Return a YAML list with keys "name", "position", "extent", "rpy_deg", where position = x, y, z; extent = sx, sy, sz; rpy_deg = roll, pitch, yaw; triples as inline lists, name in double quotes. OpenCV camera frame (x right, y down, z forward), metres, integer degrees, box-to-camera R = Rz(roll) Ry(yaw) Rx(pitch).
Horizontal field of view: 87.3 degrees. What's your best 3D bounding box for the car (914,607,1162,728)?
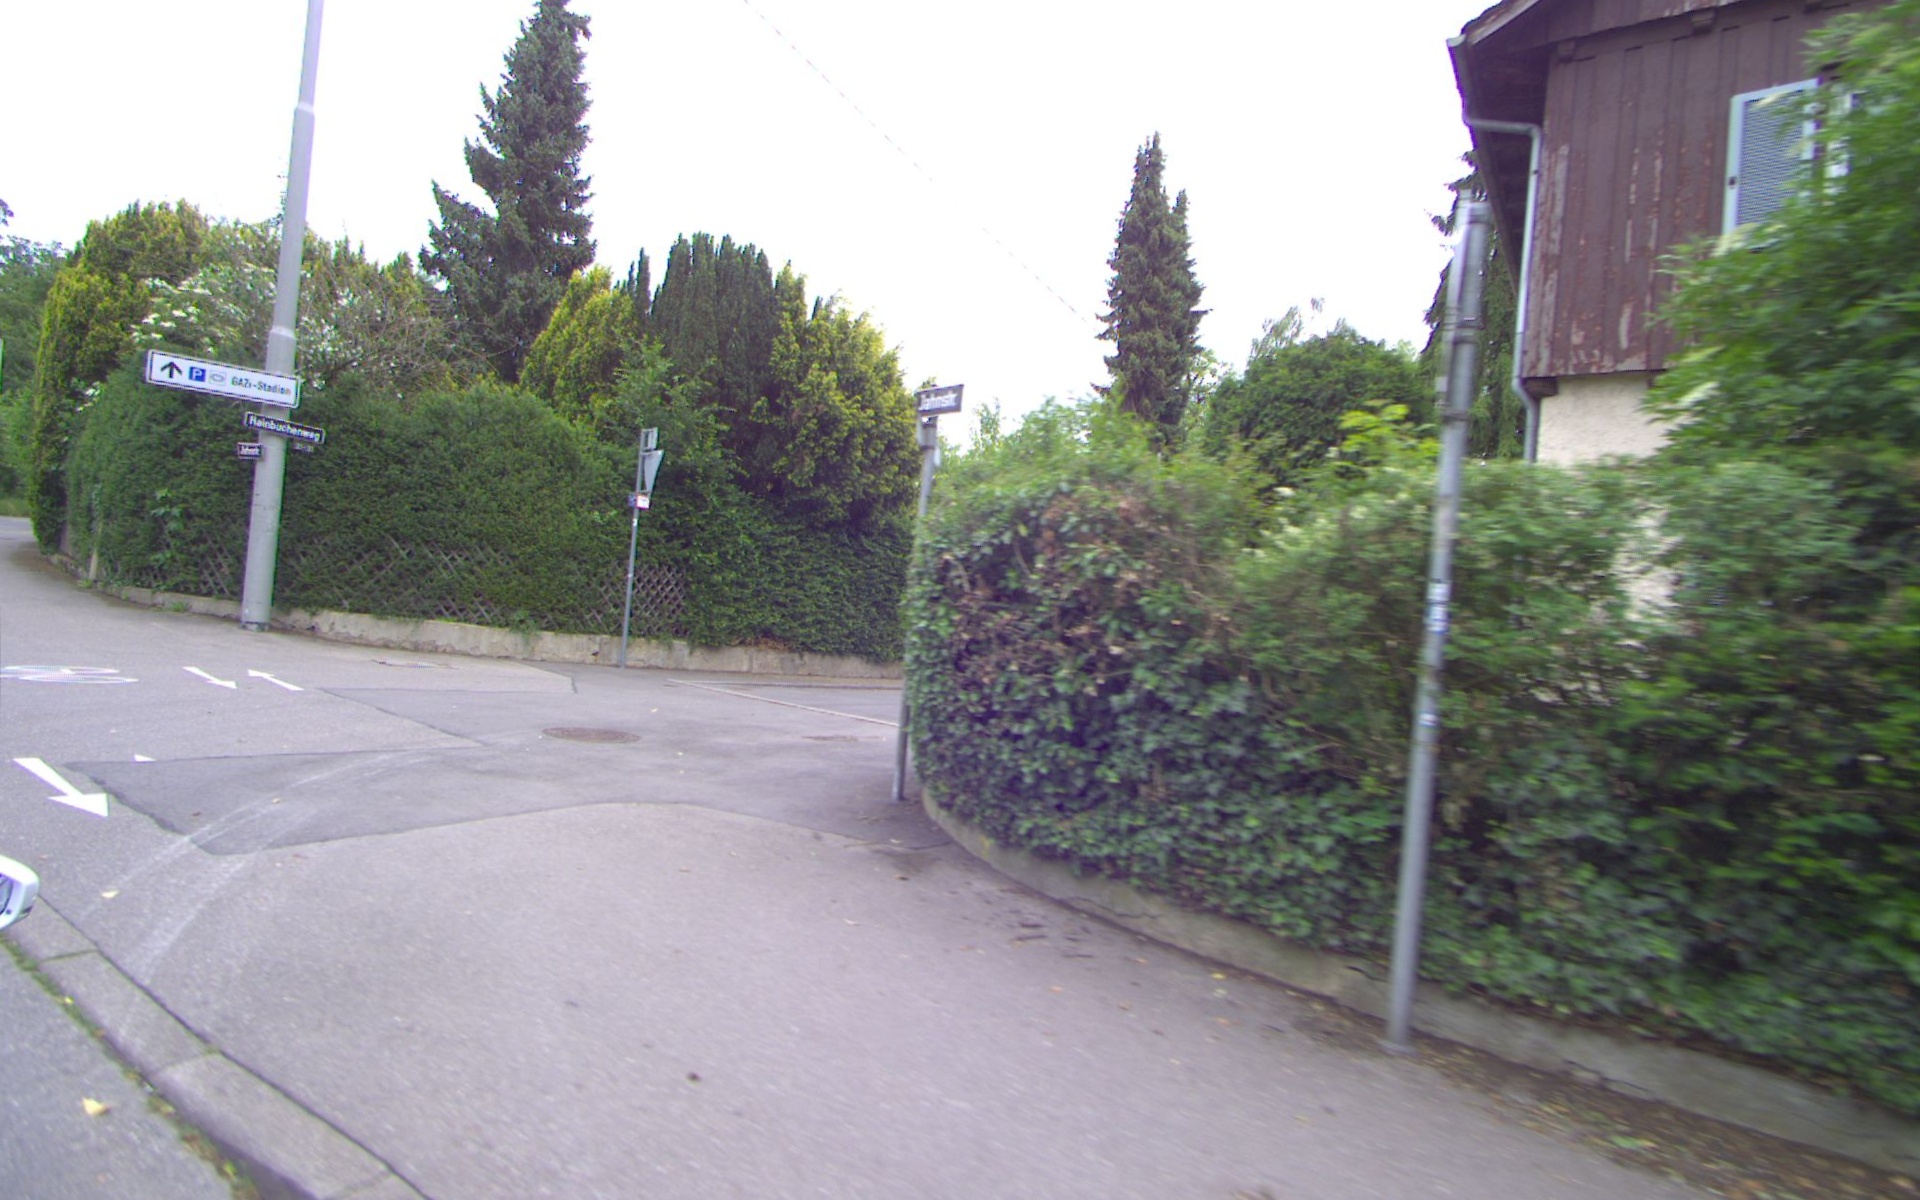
- name: "car"
  position: [1.354, 1.111, 15.854]
  extent: [1.969, 1.459, 3.988]
  rpy_deg: [7, -1, 37]
